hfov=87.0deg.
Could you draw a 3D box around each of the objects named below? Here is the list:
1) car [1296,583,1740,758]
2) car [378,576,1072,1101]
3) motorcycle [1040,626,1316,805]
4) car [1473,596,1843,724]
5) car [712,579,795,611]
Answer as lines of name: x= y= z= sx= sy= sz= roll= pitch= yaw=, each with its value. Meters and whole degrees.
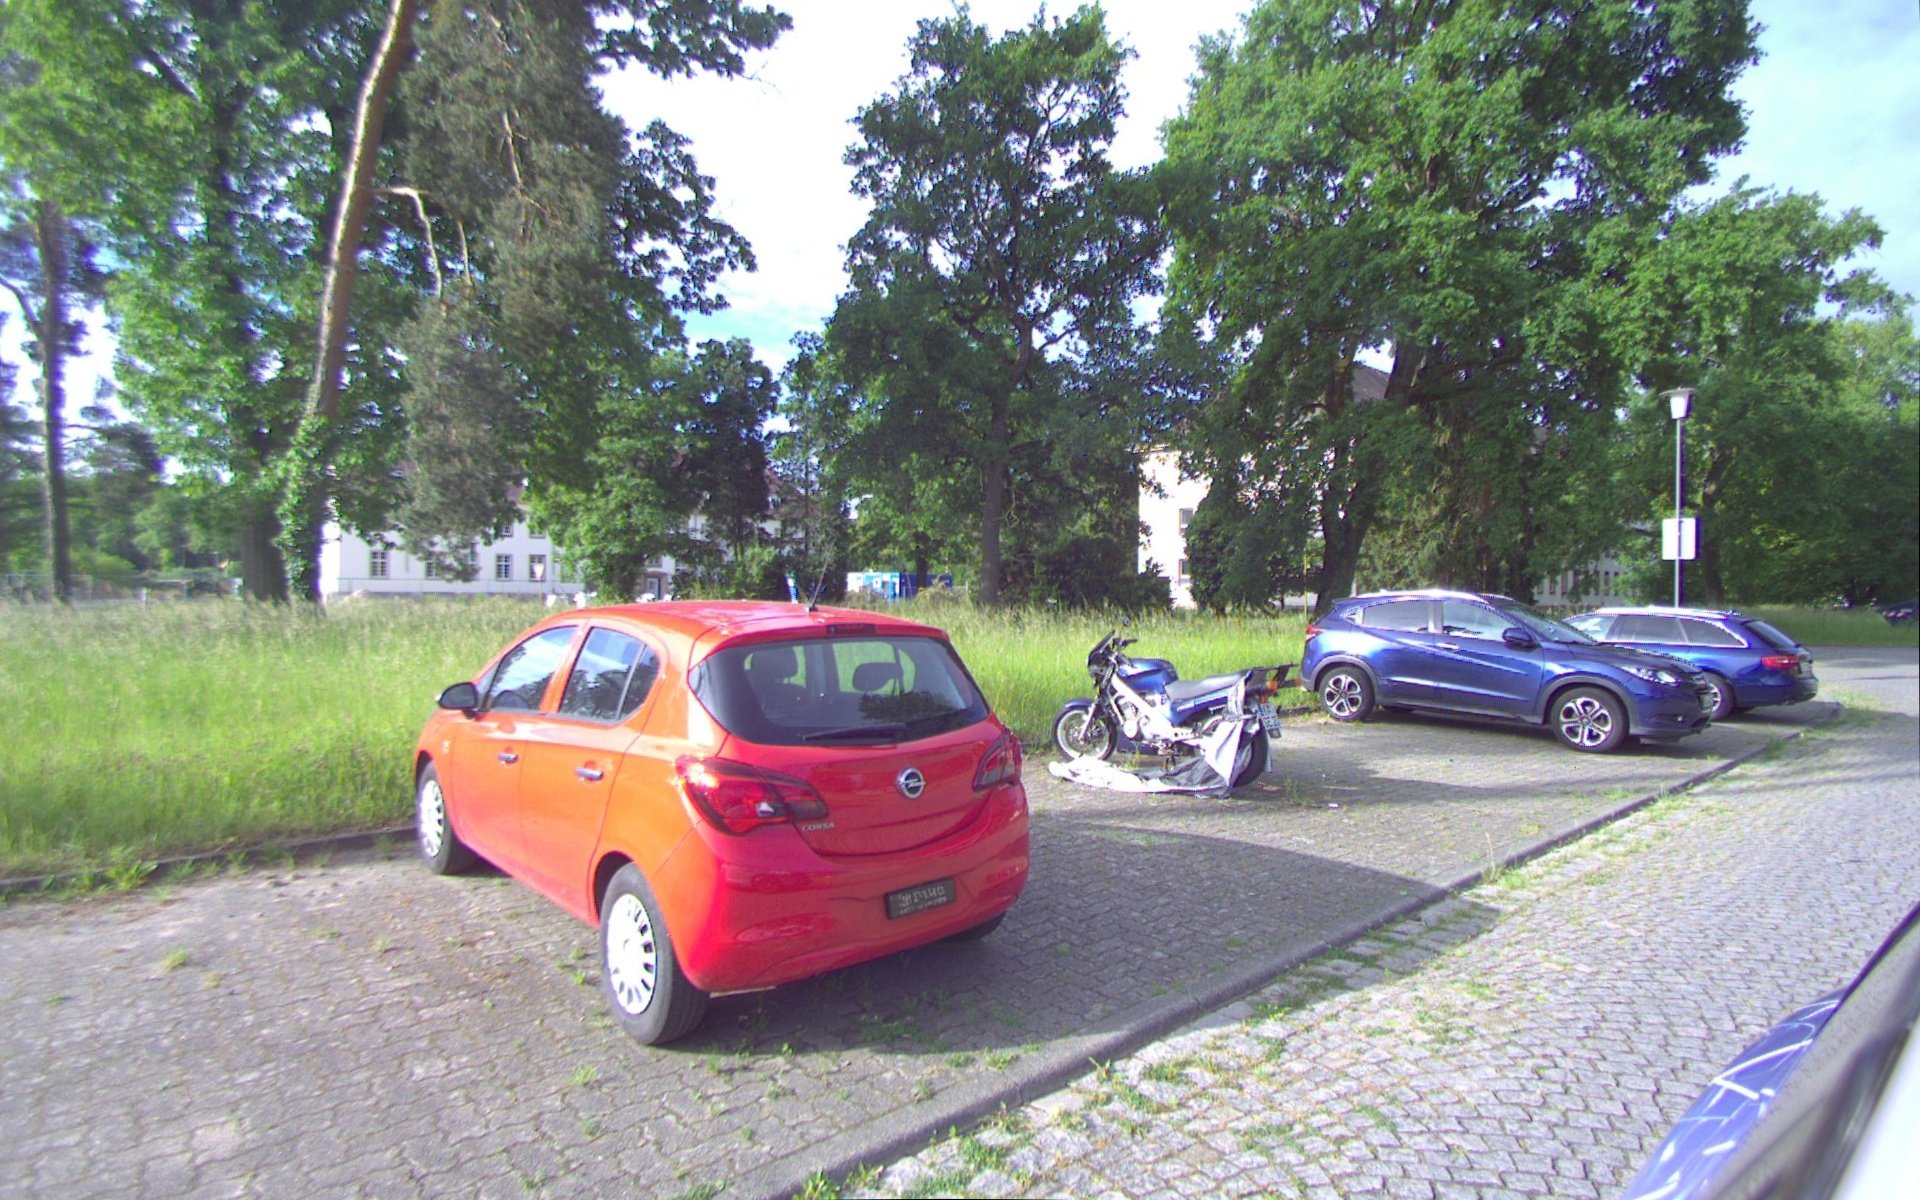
car: x=6.175 y=0.621 z=11.596 sx=1.717 sy=1.588 sz=4.132 roll=-1 pitch=2 yaw=-42
car: x=-1.461 y=0.656 z=4.973 sx=1.658 sy=1.491 sz=3.883 roll=-1 pitch=2 yaw=-42
motorcycle: x=1.667 y=0.839 z=8.193 sx=0.596 sy=1.127 sz=2.307 roll=-1 pitch=2 yaw=-39
car: x=9.791 y=0.724 z=14.471 sx=1.751 sy=1.468 sz=4.035 roll=-1 pitch=2 yaw=-39
car: x=-15.730 y=-0.374 z=77.308 sx=5.854 sy=2.328 sz=2.167 roll=0 pitch=1 yaw=-39
